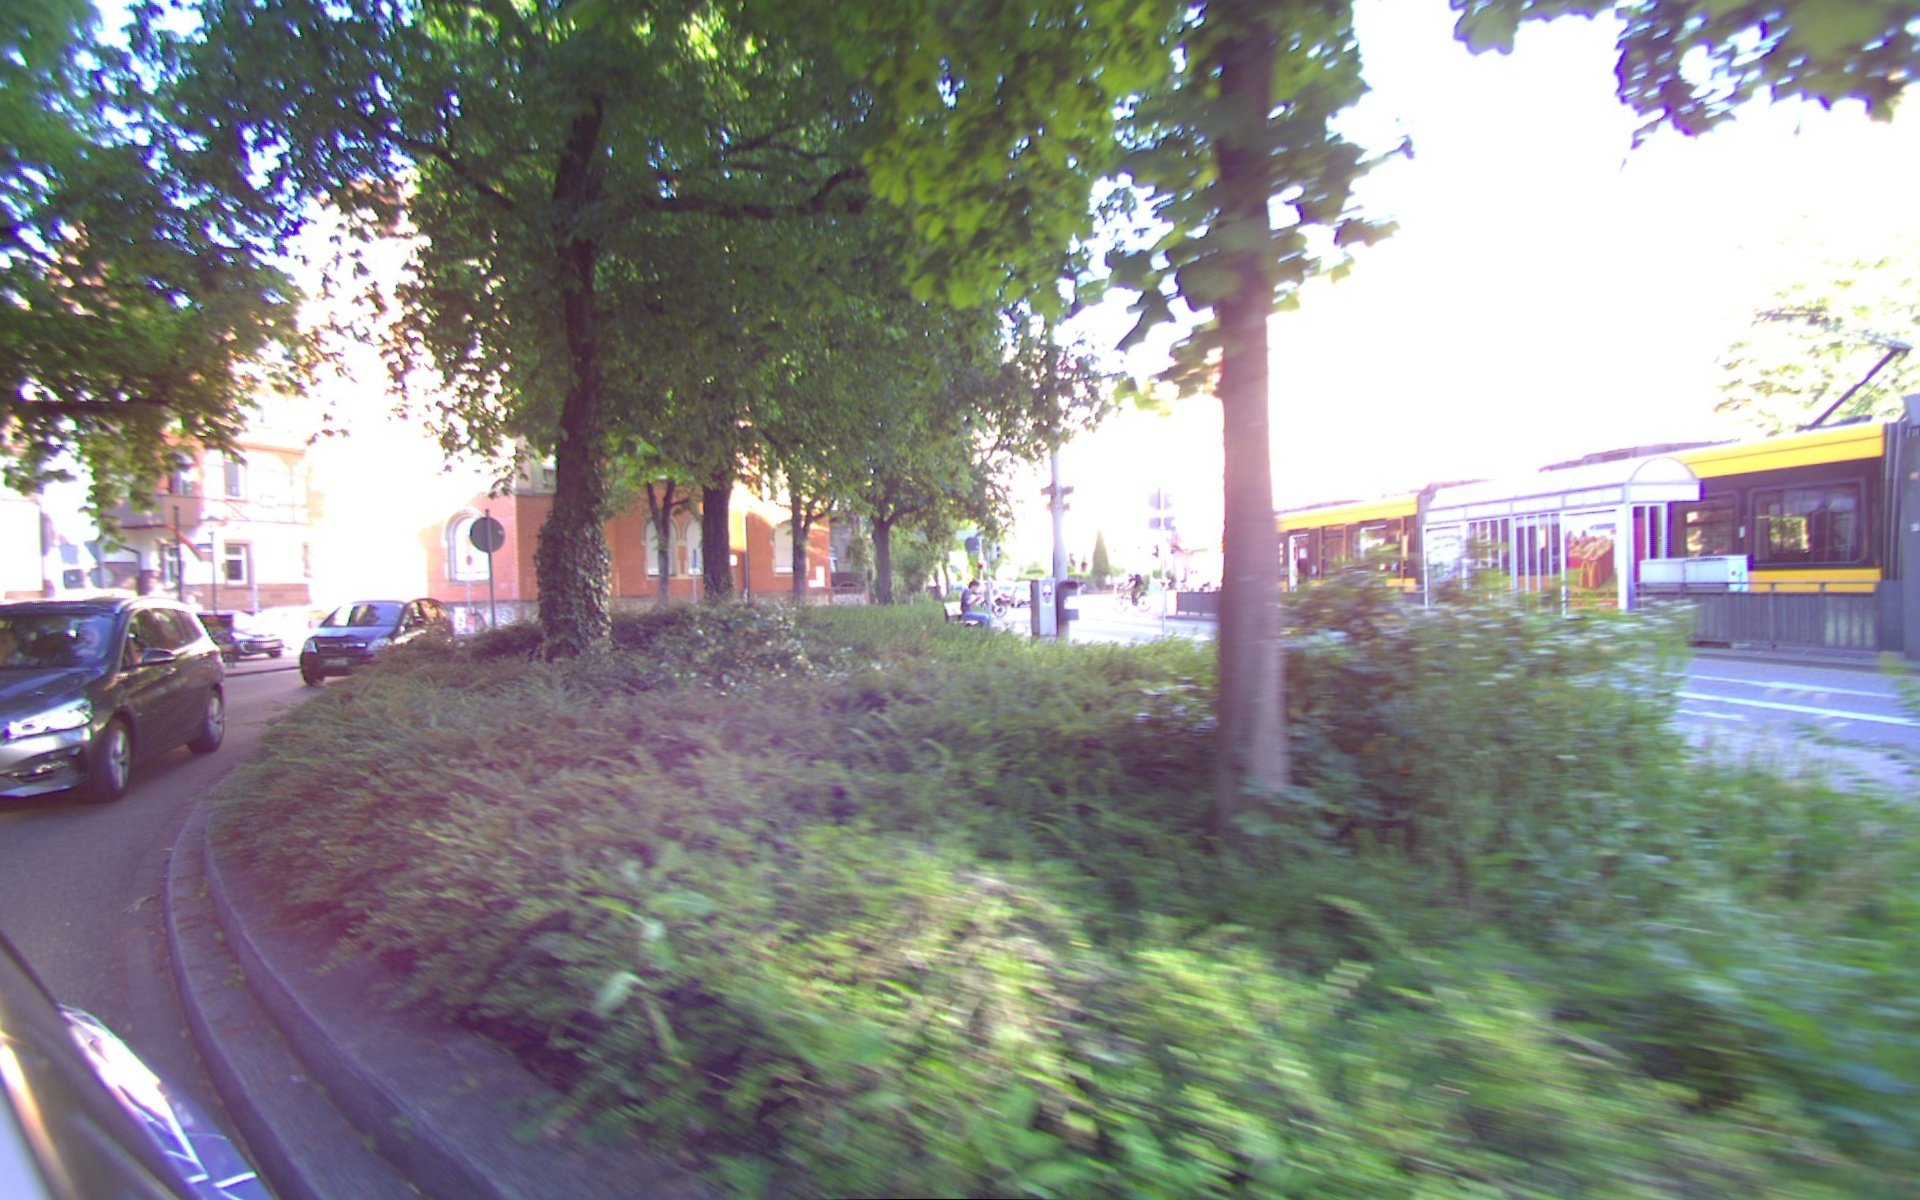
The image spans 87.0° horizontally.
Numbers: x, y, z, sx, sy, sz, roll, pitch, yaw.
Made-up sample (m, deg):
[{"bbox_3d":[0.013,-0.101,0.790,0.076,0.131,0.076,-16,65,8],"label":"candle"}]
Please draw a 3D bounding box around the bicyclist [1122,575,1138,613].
[{"bbox_3d":[7.332,-0.260,43.732,0.493,1.585,0.496,-2,0,-9],"label":"bicyclist"}]

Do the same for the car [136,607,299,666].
[{"bbox_3d":[-22.151,1.066,30.237,4.010,1.564,1.690,-2,0,12],"label":"car"}]

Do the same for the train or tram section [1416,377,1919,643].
[{"bbox_3d":[13.610,-1.317,18.930,2.742,3.614,12.445,-2,1,-9],"label":"train or tram section"}]

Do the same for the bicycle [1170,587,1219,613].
[{"bbox_3d":[10.234,-0.006,44.213,1.950,1.065,0.639,-2,0,-10],"label":"bicycle"}]

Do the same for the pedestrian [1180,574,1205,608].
[{"bbox_3d":[11.947,-0.478,51.981,0.891,1.647,0.727,-5,1,-40],"label":"pedestrian"}]

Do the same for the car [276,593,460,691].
[{"bbox_3d":[-11.211,0.726,19.463,1.655,1.640,3.693,-2,0,-7],"label":"car"}]

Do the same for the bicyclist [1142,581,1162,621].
[{"bbox_3d":[7.847,0.037,41.404,0.589,1.585,0.556,-2,0,-7],"label":"bicyclist"}]

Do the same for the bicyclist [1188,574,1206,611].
[{"bbox_3d":[10.350,-0.344,44.222,0.546,1.585,0.599,-2,0,-10],"label":"bicyclist"}]

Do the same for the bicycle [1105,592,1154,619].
[{"bbox_3d":[7.304,0.226,43.718,1.950,1.065,0.639,-2,0,-10],"label":"bicycle"}]

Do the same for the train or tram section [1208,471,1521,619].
[{"bbox_3d":[11.593,-1.422,31.360,2.729,3.584,12.707,-2,1,-9],"label":"train or tram section"}]

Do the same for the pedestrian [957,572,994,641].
[{"bbox_3d":[0.333,0.128,22.085,0.700,1.454,0.600,-2,1,-2],"label":"pedestrian"}]

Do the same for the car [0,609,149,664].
[{"bbox_3d":[-28.134,1.146,31.881,4.143,1.564,1.799,-2,0,12],"label":"car"}]

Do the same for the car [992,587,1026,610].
[{"bbox_3d":[3.363,-0.134,70.111,1.710,1.427,4.006,-2,2,-6],"label":"car"}]

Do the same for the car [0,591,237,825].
[{"bbox_3d":[-7.828,0.757,8.692,1.763,1.590,4.275,-1,0,-24],"label":"car"}]

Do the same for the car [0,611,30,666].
[{"bbox_3d":[-26.541,1.083,25.915,1.657,1.436,3.794,-2,1,9],"label":"car"}]

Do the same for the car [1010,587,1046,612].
[{"bbox_3d":[4.113,-0.053,61.902,1.711,1.427,4.002,-2,1,-2],"label":"car"}]

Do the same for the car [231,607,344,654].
[{"bbox_3d":[-23.591,1.055,35.528,3.182,1.551,1.487,-1,0,12],"label":"car"}]
